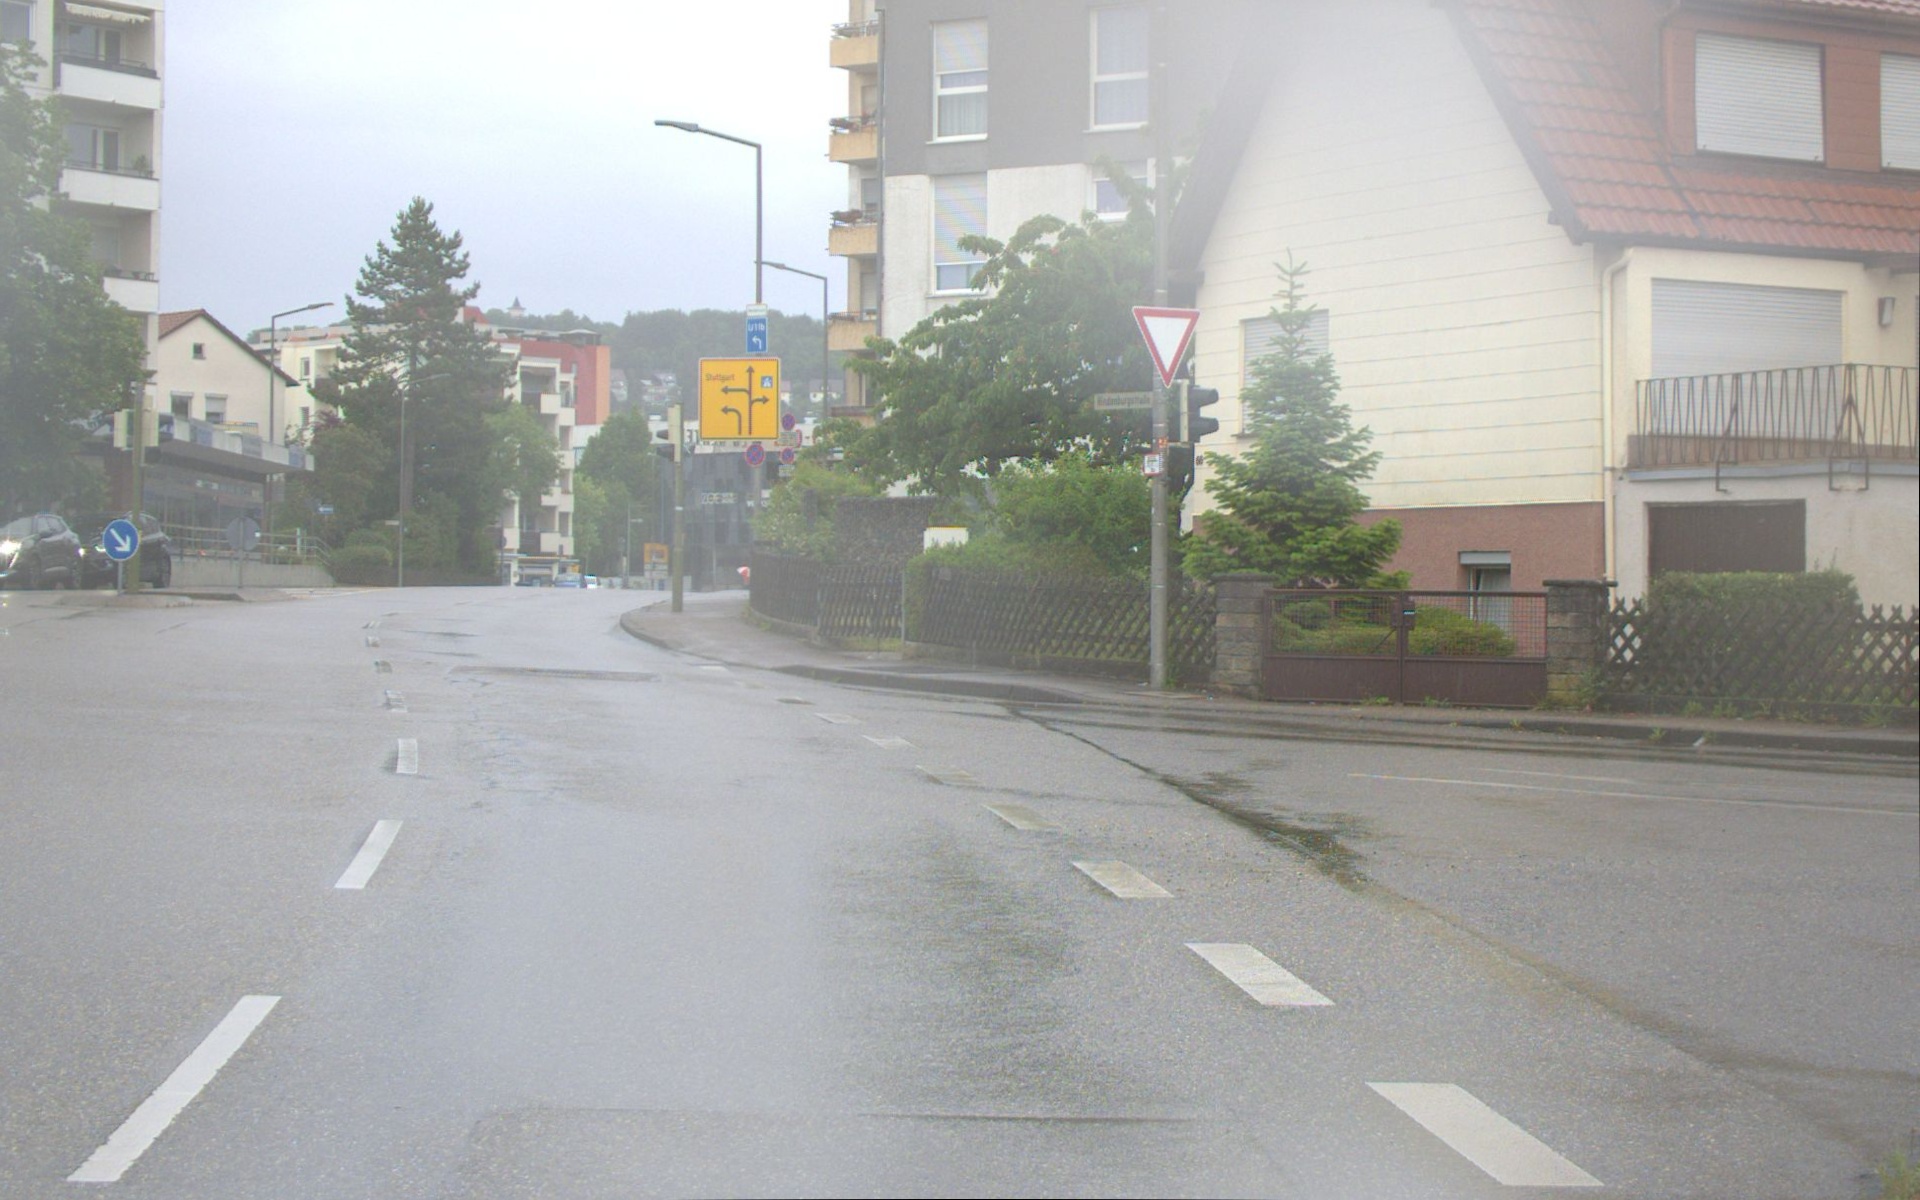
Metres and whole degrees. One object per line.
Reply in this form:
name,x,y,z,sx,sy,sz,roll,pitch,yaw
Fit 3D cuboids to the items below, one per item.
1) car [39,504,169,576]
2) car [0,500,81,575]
car,-17.741,-1.256,71.403,1.778,1.415,3.831,1,1,-1
car,-18.114,-1.212,65.559,1.715,1.382,4.021,1,1,-1
